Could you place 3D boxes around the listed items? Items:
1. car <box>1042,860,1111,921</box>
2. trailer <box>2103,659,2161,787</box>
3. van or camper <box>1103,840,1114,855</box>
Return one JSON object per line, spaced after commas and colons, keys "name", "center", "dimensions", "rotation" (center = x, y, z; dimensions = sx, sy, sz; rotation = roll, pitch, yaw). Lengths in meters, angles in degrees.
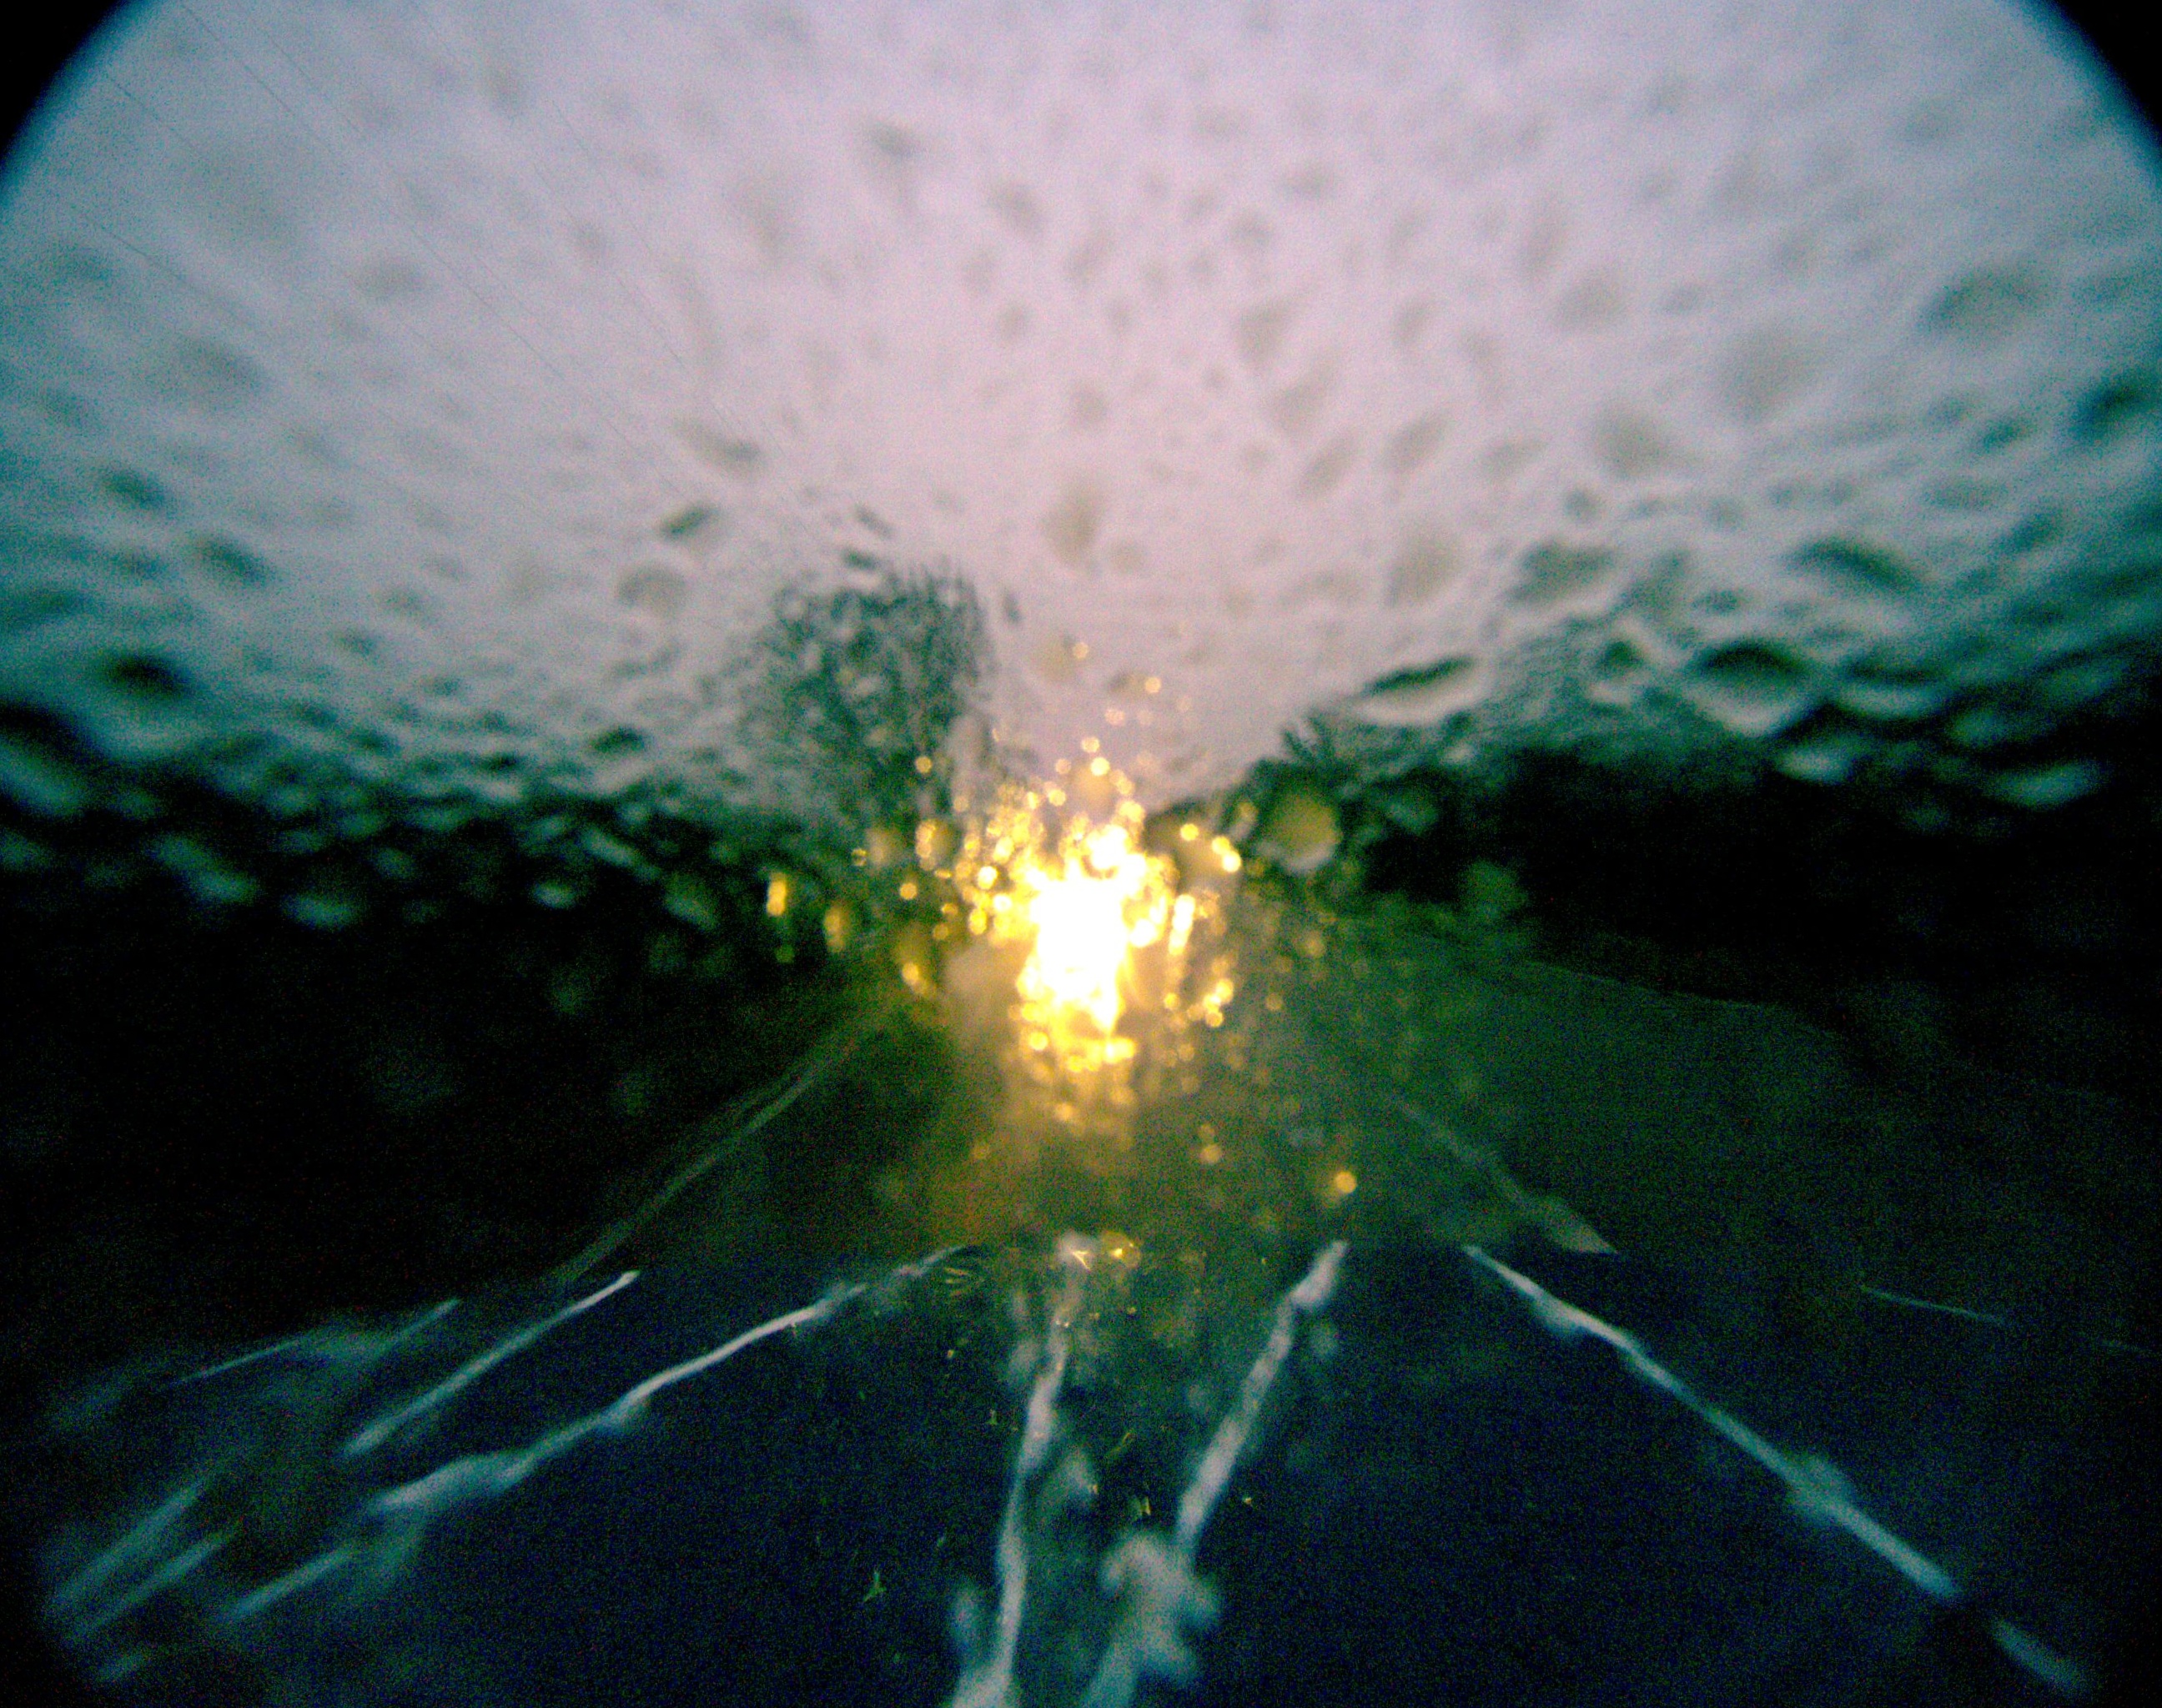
{"name": "car", "center": [-0.049, 1.092, 24.572], "dimensions": [1.910, 1.653, 4.000], "rotation": [-3, 0, 3]}
{"name": "trailer", "center": [26.043, -3.029, 12.933], "dimensions": [2.442, 2.874, 11.084], "rotation": [-1, 1, 1]}
{"name": "van or camper", "center": [5.200, -1.249, 143.991], "dimensions": [2.026, 2.761, 6.743], "rotation": [-1, 1, 1]}
